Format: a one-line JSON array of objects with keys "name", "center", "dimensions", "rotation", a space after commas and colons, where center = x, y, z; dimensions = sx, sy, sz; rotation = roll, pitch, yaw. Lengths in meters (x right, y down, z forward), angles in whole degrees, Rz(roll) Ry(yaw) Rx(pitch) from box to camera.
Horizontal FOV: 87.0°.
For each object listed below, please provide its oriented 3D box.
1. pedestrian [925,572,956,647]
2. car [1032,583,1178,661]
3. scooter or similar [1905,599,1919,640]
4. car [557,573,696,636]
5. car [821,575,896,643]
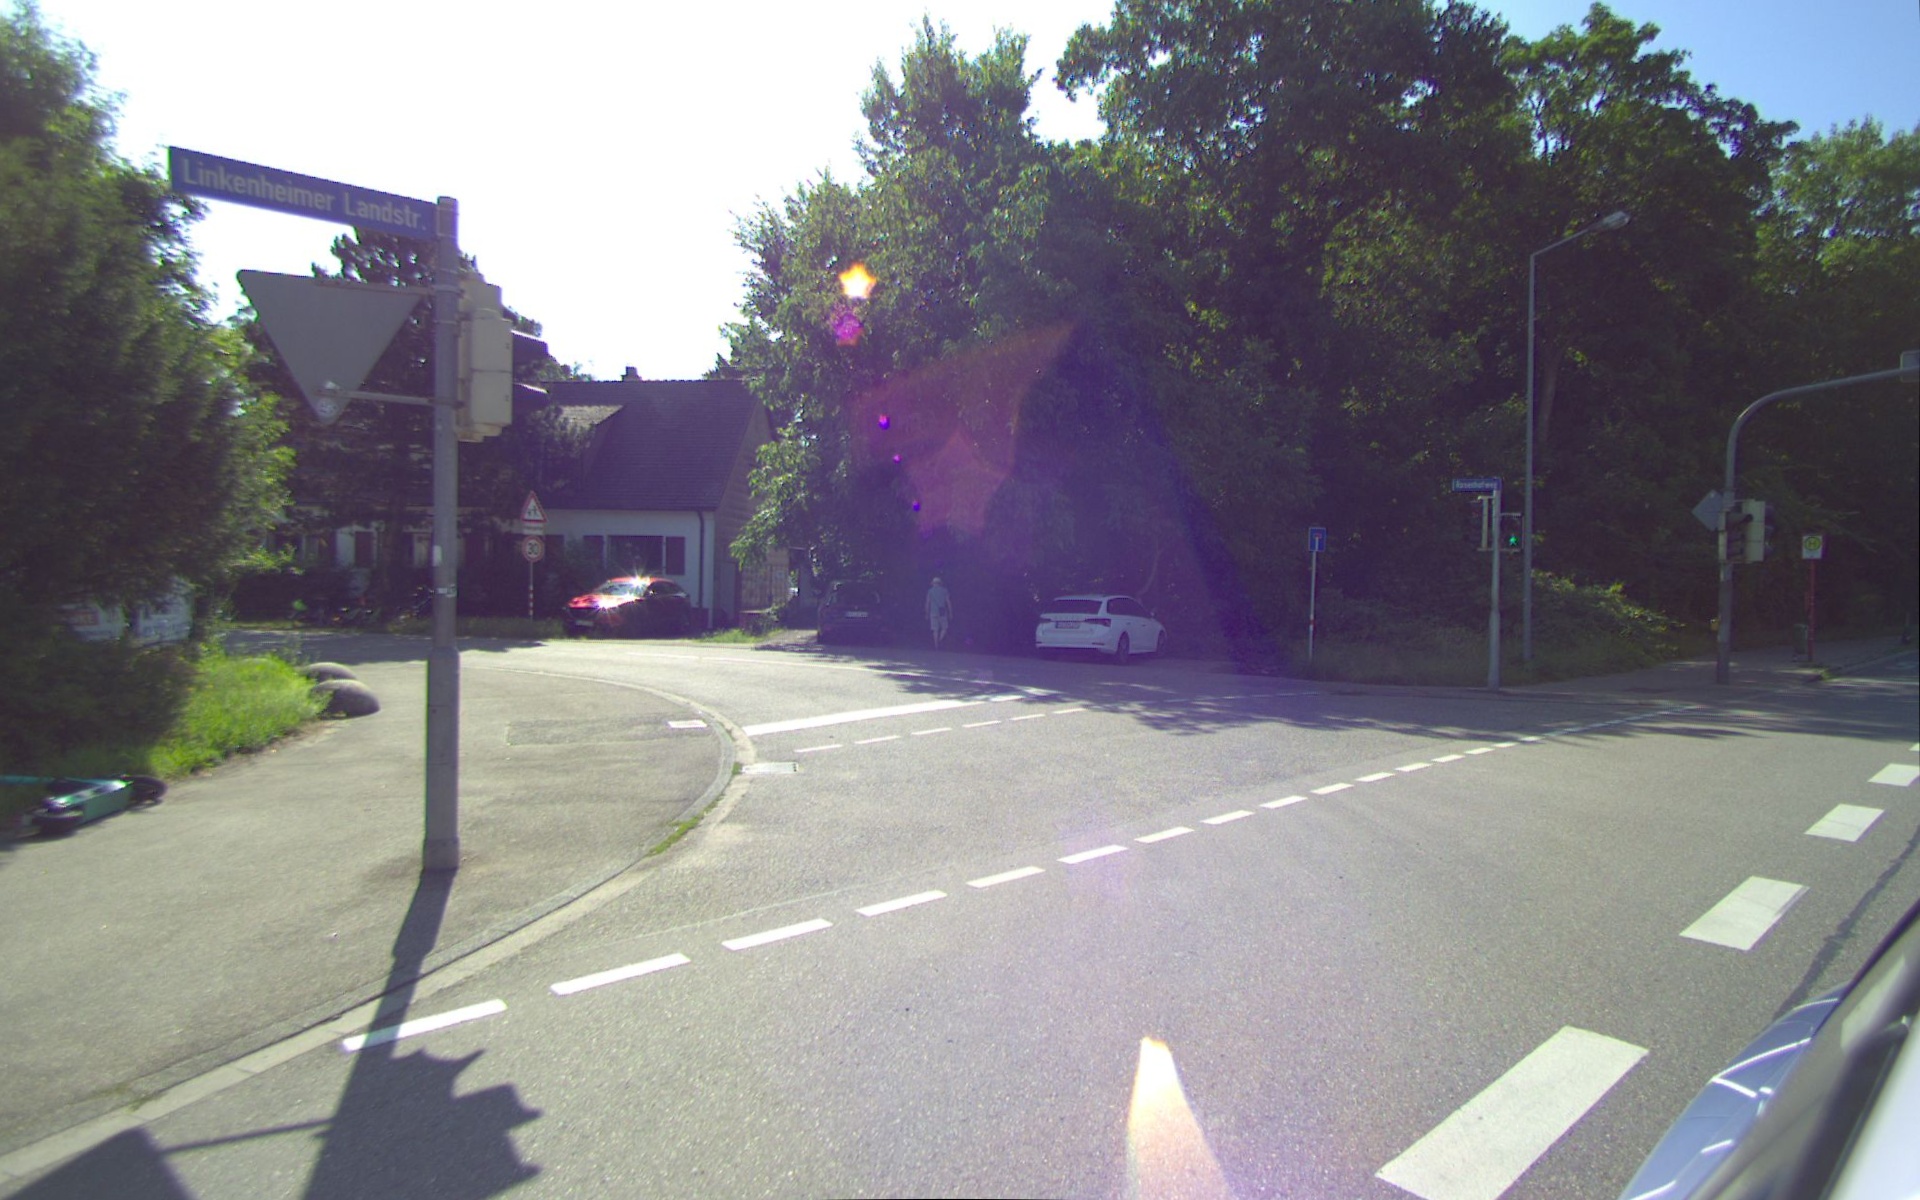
[{"name": "pedestrian", "center": [-0.437, 0.210, 22.655], "dimensions": [0.597, 1.650, 0.415], "rotation": [1, 1, -12]}, {"name": "car", "center": [3.251, 0.394, 21.953], "dimensions": [1.614, 1.482, 4.568], "rotation": [2, 1, 29]}, {"name": "scooter or similar", "center": [31.928, 0.647, 33.720], "dimensions": [0.398, 1.323, 1.314], "rotation": [2, 1, 34]}, {"name": "car", "center": [-8.615, 0.066, 26.521], "dimensions": [1.605, 1.482, 3.971], "rotation": [2, 1, 14]}, {"name": "car", "center": [-2.535, 0.168, 24.574], "dimensions": [1.595, 1.482, 3.797], "rotation": [1, 1, -9]}]
